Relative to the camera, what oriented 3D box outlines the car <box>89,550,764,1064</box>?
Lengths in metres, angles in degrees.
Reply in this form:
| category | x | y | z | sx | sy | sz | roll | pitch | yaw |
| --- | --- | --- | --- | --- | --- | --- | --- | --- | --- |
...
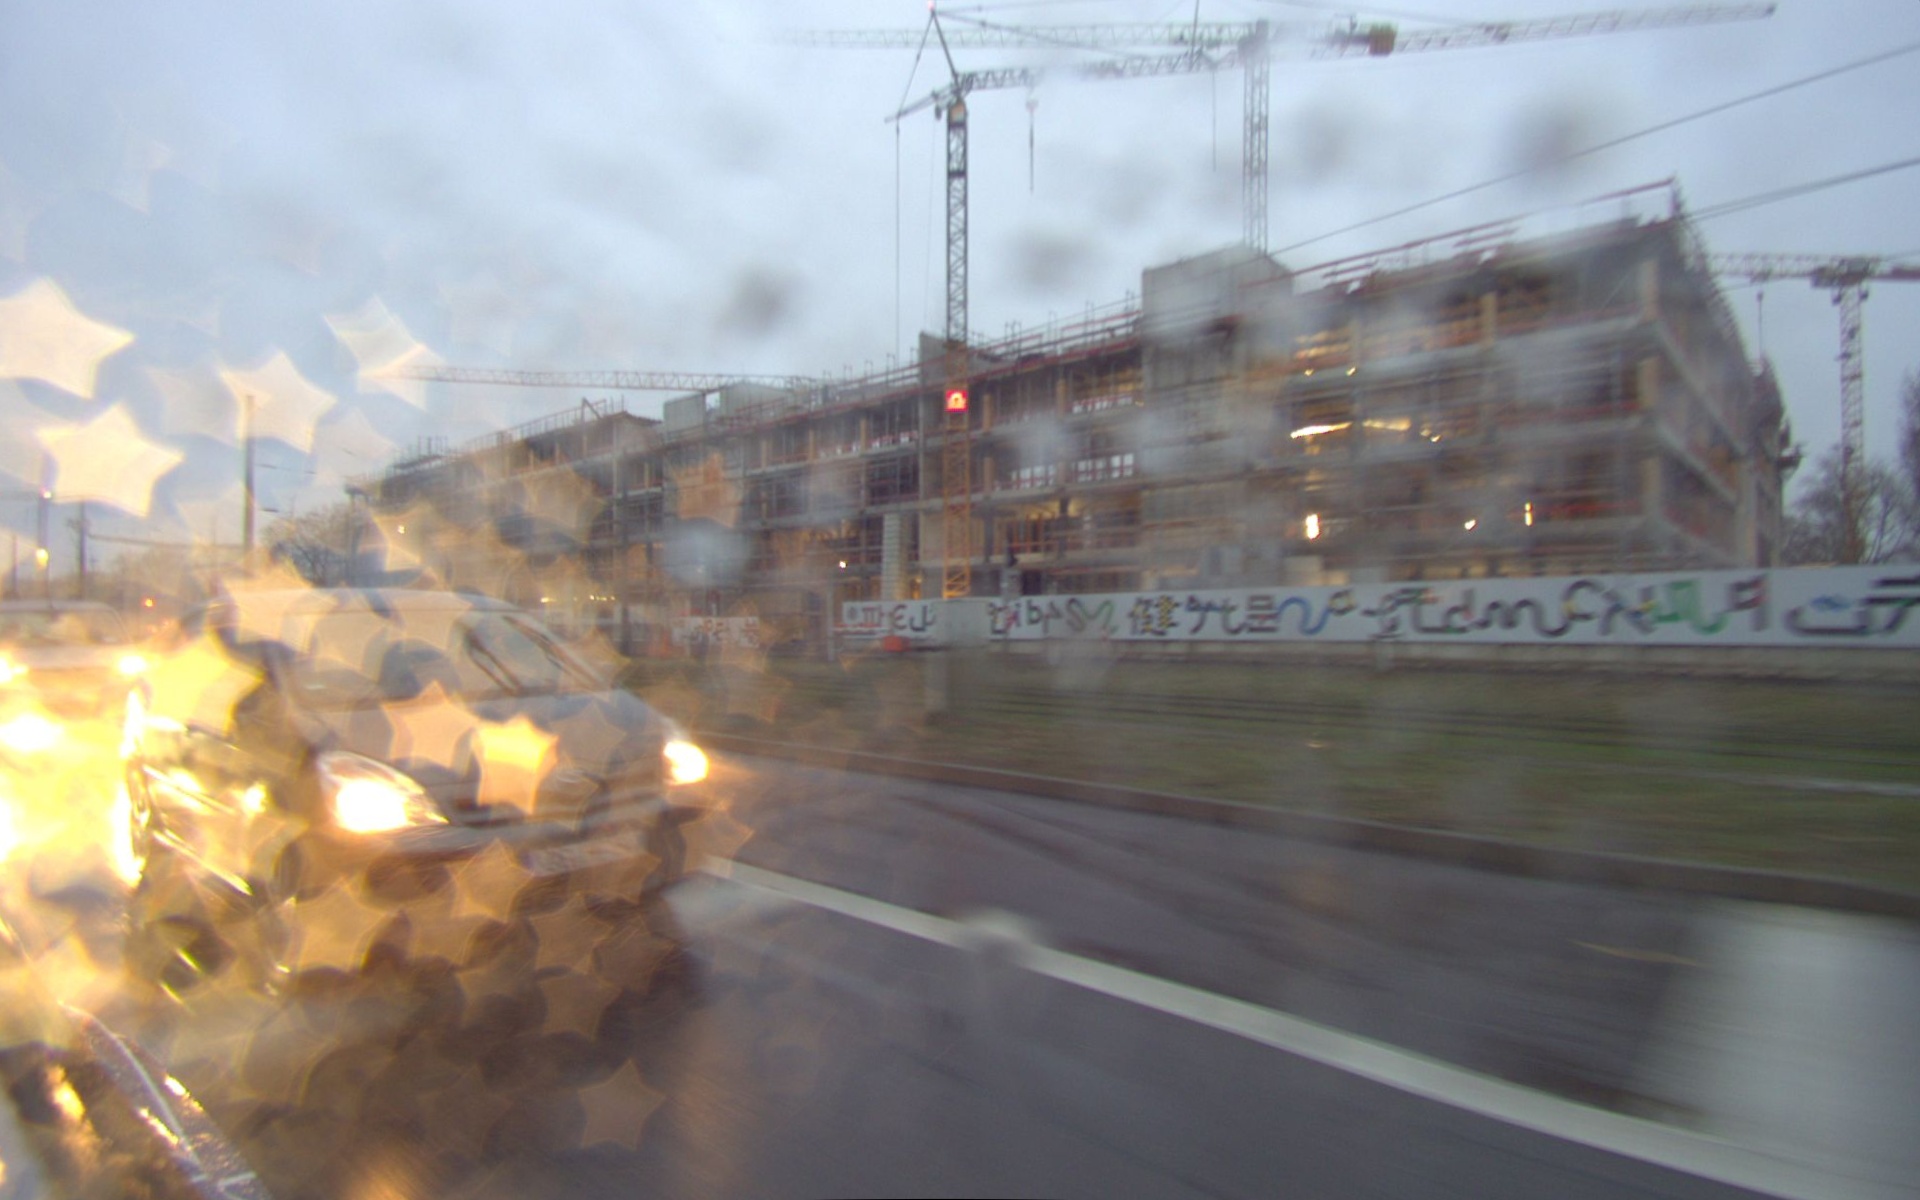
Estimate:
| category | x | y | z | sx | sy | sz | roll | pitch | yaw |
| --- | --- | --- | --- | --- | --- | --- | --- | --- | --- |
| car | -2.944 | 0.680 | 5.155 | 3.998 | 1.606 | 1.741 | -2 | -1 | 42 |

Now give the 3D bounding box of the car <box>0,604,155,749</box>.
| category | x | y | z | sx | sy | sz | roll | pitch | yaw |
| --- | --- | --- | --- | --- | --- | --- | --- | --- | --- |
| car | -12.778 | 0.977 | 14.115 | 4.000 | 1.746 | 1.833 | -2 | -1 | 43 |

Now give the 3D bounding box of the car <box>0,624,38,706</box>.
| category | x | y | z | sx | sy | sz | roll | pitch | yaw |
| --- | --- | --- | --- | --- | --- | --- | --- | --- | --- |
| car | -21.479 | 1.383 | 21.897 | 4.322 | 1.666 | 1.820 | -2 | -1 | 42 |
